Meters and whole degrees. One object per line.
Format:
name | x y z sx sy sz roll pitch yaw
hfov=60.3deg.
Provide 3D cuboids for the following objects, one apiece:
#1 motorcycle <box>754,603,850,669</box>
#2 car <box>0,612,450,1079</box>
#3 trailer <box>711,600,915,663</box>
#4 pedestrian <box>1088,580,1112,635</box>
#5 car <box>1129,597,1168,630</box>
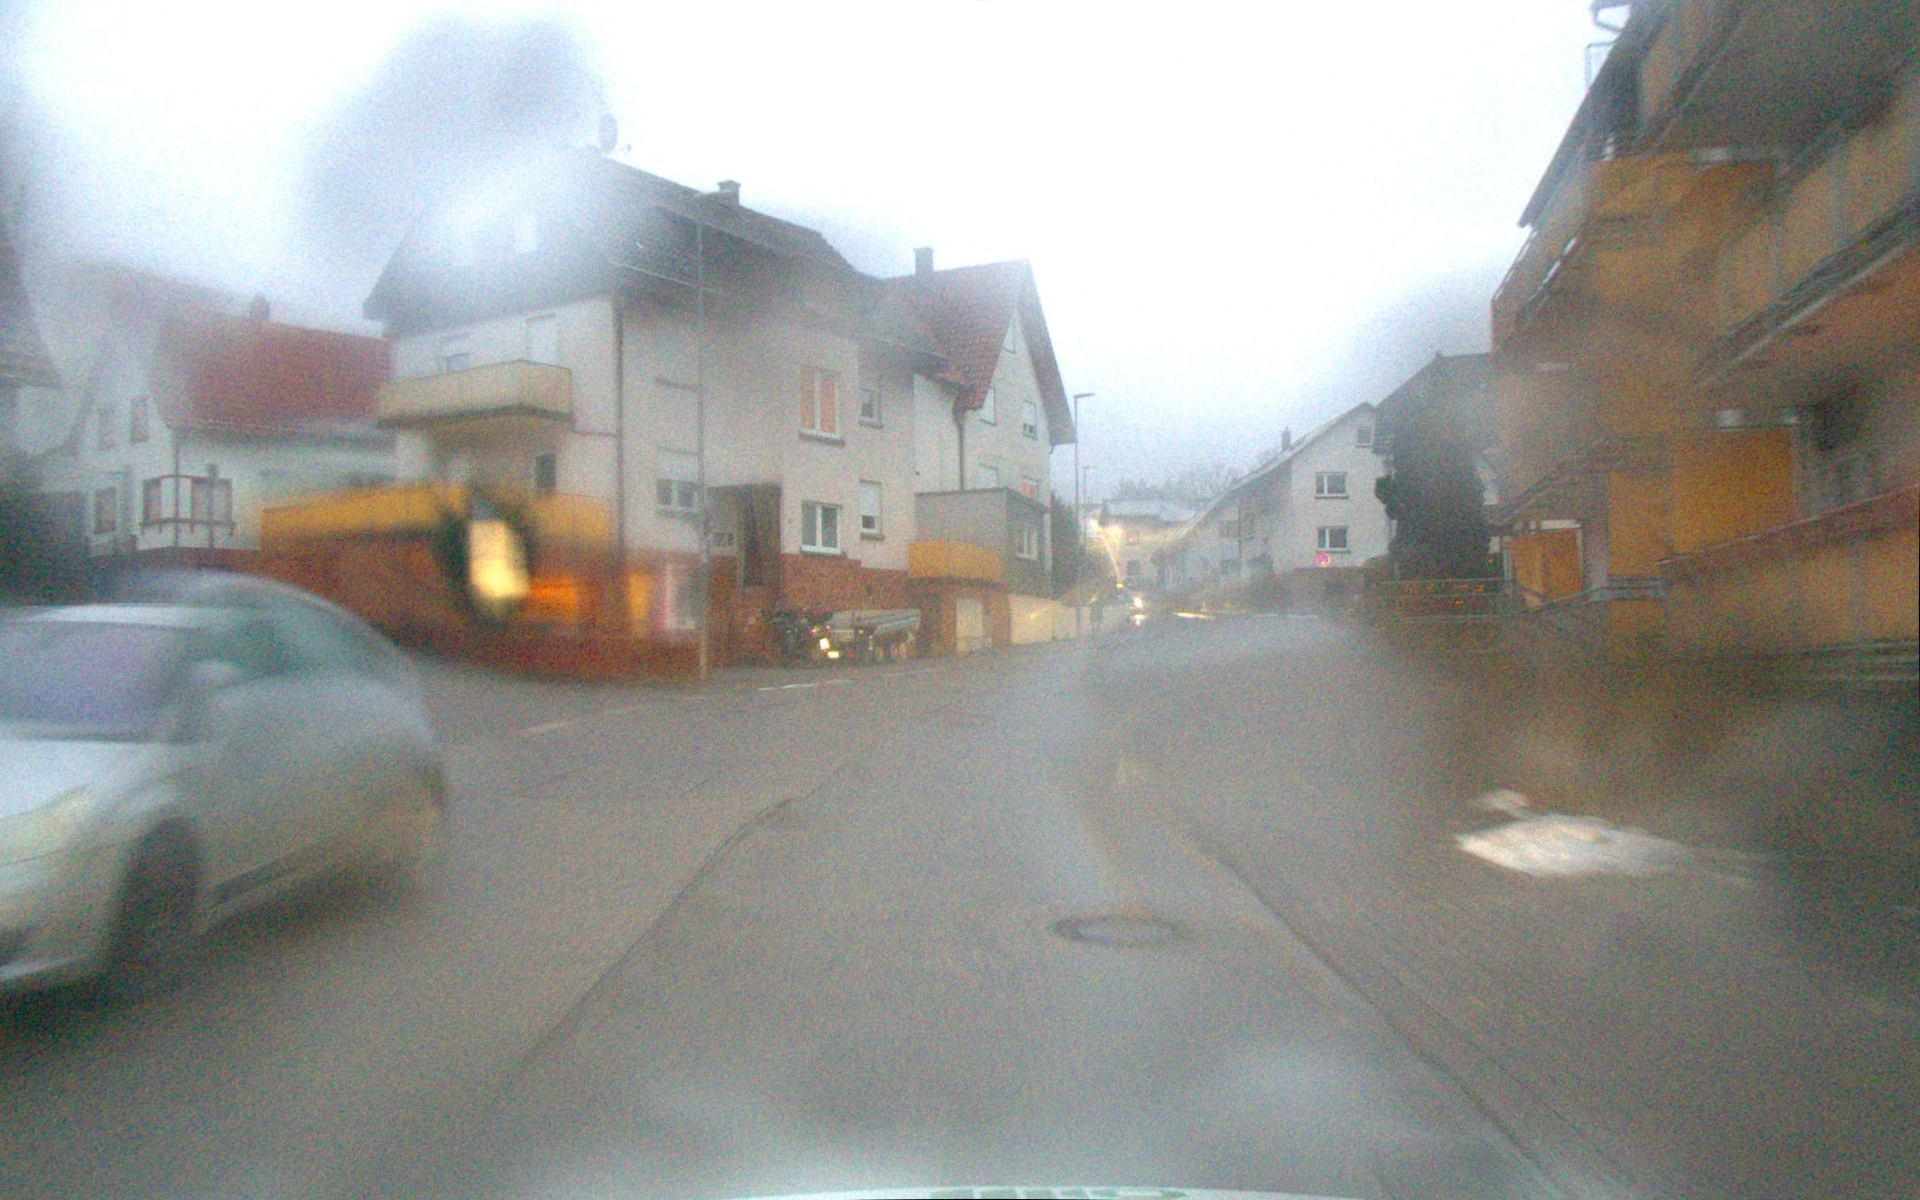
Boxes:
motorcycle | -3.344 0.727 34.750 1.045 1.321 2.210 0 0 -36
car | -3.714 0.785 7.245 1.713 1.413 4.146 0 0 -1
trailer | -3.219 0.668 37.299 2.022 1.189 4.855 0 1 33
pedestrian | 4.509 0.235 53.357 0.585 1.763 0.812 0 -1 19
car | 12.729 0.887 111.269 2.065 2.062 4.987 -2 0 12
